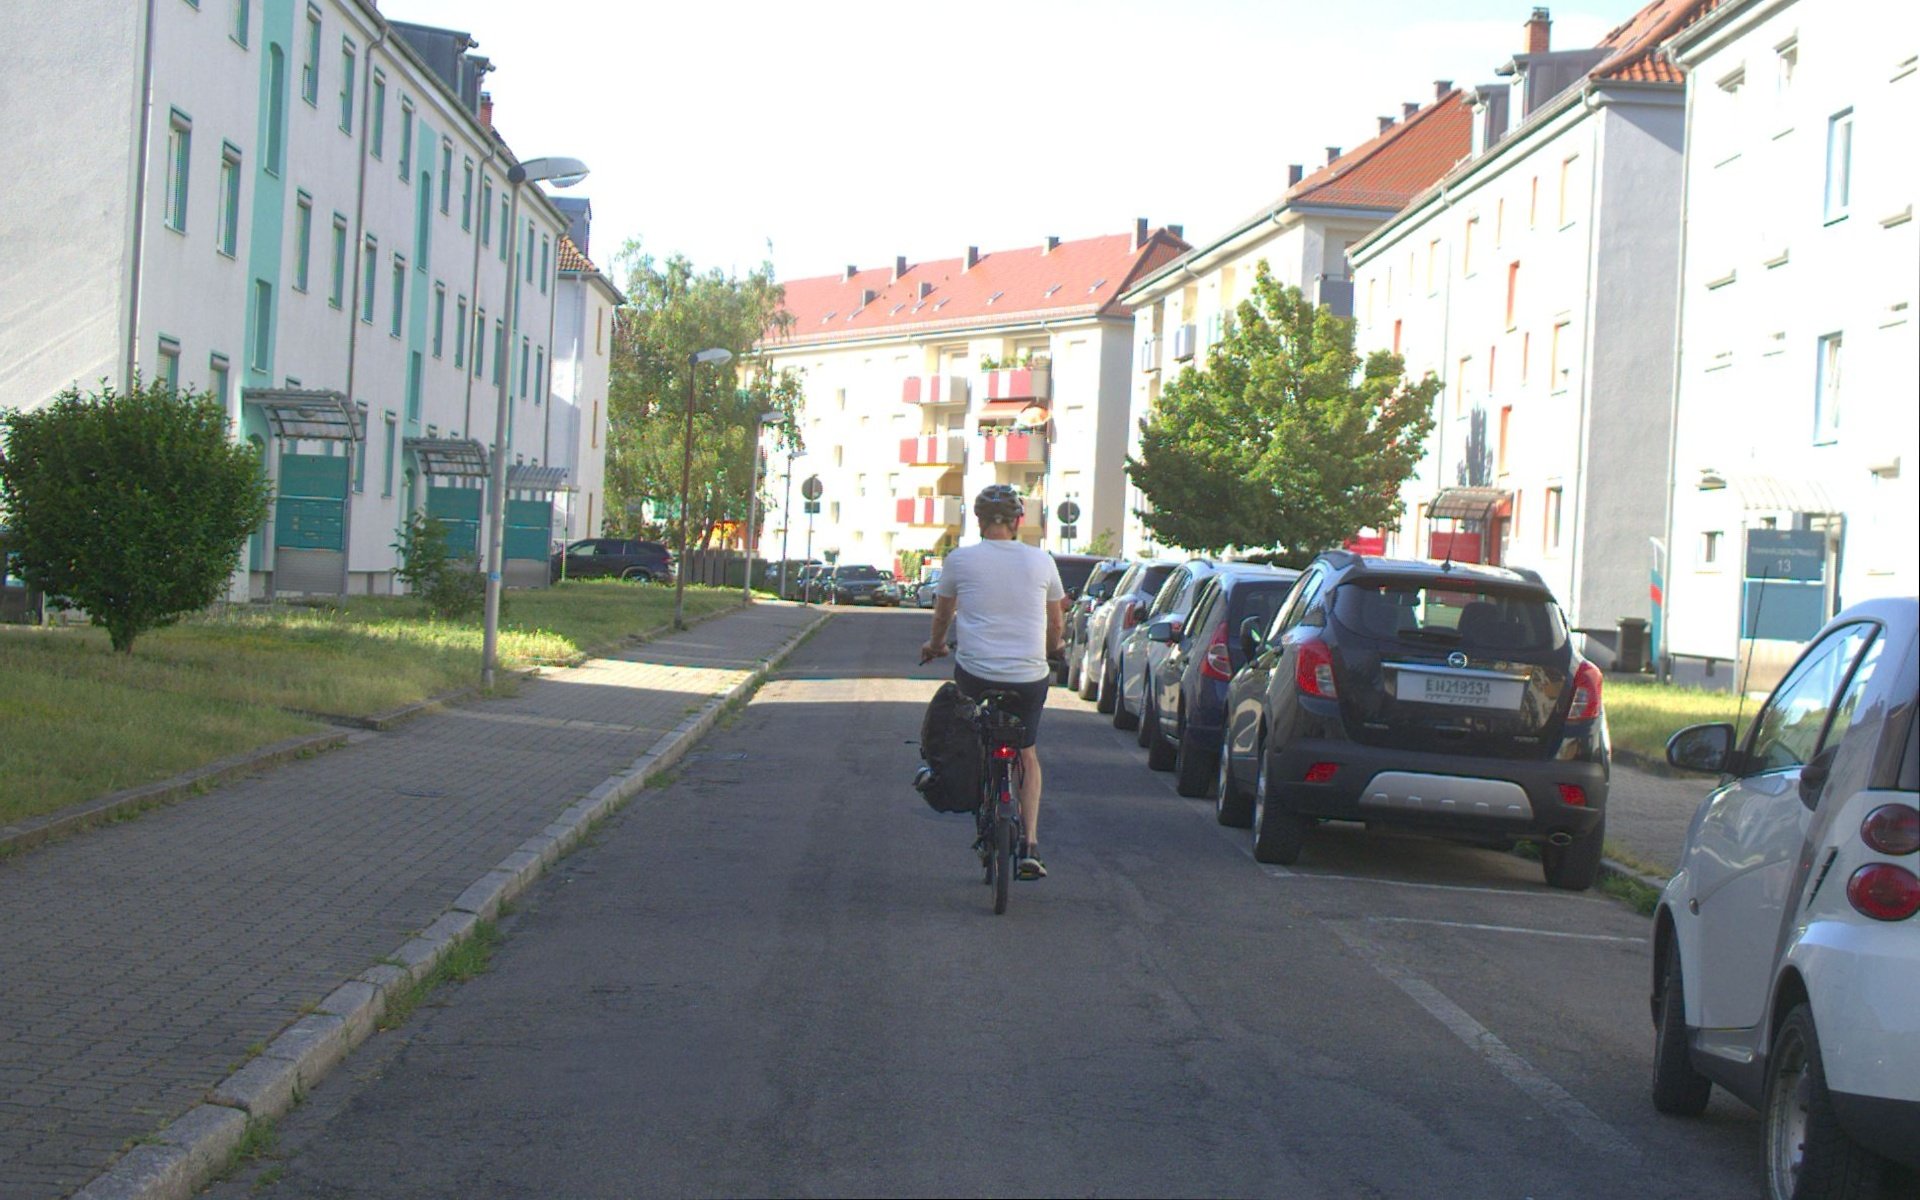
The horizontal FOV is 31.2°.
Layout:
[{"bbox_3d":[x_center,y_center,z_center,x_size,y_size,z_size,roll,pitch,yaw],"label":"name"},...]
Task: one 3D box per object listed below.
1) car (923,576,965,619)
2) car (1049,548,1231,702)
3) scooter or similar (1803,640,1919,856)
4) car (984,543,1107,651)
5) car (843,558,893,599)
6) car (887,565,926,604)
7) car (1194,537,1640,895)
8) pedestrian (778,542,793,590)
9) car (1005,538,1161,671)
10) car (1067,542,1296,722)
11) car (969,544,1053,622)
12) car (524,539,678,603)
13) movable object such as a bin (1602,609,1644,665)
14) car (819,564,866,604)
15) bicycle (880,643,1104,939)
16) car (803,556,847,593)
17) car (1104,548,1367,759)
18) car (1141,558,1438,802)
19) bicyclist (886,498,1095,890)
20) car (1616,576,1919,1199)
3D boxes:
[{"bbox_3d":[-0.610,-0.100,132.411,1.381,1.492,3.077,4,1,-3],"label":"car"},{"bbox_3d":[2.093,0.250,41.134,1.712,1.590,4.398,5,1,-1],"label":"car"},{"bbox_3d":[5.318,0.831,19.888,0.483,1.145,1.589,0,1,0],"label":"scooter or similar"},{"bbox_3d":[1.434,-0.086,59.373,1.700,1.665,4.380,4,1,-3],"label":"car"},{"bbox_3d":[-3.120,-0.731,115.917,1.469,1.331,3.141,-1,1,-5],"label":"car"},{"bbox_3d":[-2.267,-0.658,145.039,1.469,1.511,3.077,4,1,-3],"label":"car"},{"bbox_3d":[2.401,0.537,19.172,1.783,1.642,4.469,4,1,0],"label":"car"},{"bbox_3d":[-5.684,-1.110,111.952,0.434,1.569,0.543,1,1,-1],"label":"pedestrian"},{"bbox_3d":[1.698,0.038,48.792,1.862,1.662,4.127,4,1,-1],"label":"car"},{"bbox_3d":[2.243,0.278,35.927,1.750,1.612,4.453,5,1,-3],"label":"car"},{"bbox_3d":[1.199,-0.429,82.887,1.674,1.733,3.943,4,1,-3],"label":"car"},{"bbox_3d":[-10.123,-0.824,97.080,4.230,1.633,1.583,2,1,-5],"label":"car"},{"bbox_3d":[10.980,0.614,56.963,0.523,0.883,0.633,3,1,0],"label":"movable object such as a bin"},{"bbox_3d":[-4.110,-0.566,120.263,1.469,1.331,3.141,-1,1,-5],"label":"car"},{"bbox_3d":[0.106,0.789,15.002,0.808,1.124,2.102,2,1,-3],"label":"bicycle"},{"bbox_3d":[-5.001,-0.953,126.918,1.469,1.331,3.141,-1,1,-5],"label":"car"},{"bbox_3d":[2.310,0.400,29.876,1.690,1.569,4.435,4,1,-2],"label":"car"},{"bbox_3d":[2.238,0.490,24.268,1.641,1.493,4.156,2,1,0],"label":"car"},{"bbox_3d":[0.120,0.393,15.015,0.808,1.638,0.899,2,1,-3],"label":"bicyclist"},{"bbox_3d":[2.728,0.765,8.999,1.480,1.524,2.940,5,1,3],"label":"car"}]
